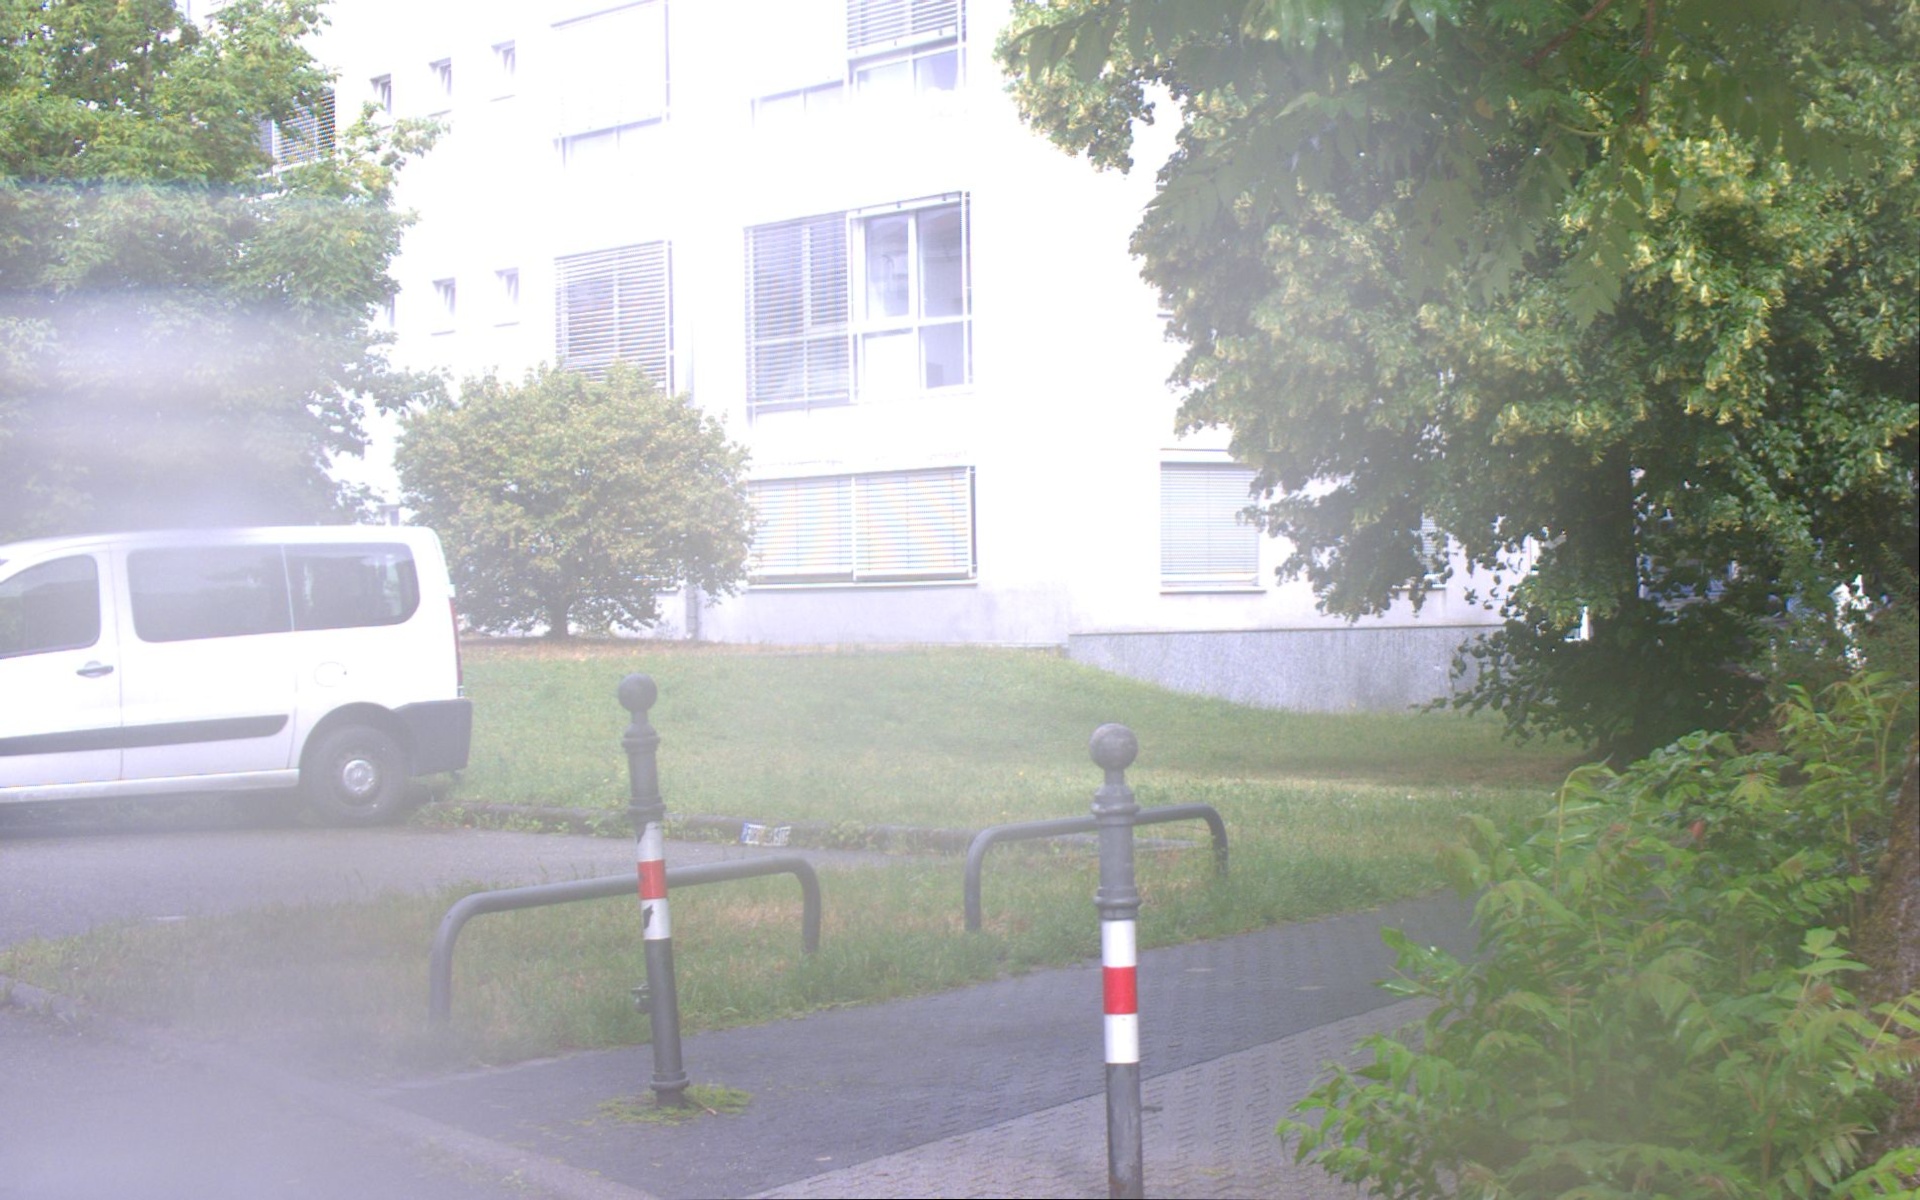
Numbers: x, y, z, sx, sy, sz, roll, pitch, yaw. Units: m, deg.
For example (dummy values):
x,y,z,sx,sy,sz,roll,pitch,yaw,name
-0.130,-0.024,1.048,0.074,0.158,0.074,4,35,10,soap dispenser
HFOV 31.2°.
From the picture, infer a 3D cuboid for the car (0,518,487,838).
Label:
x,y,z,sx,sy,sz,roll,pitch,yaw,name
-5.692,0.485,21.872,4.873,1.919,2.099,0,-1,-31,car
